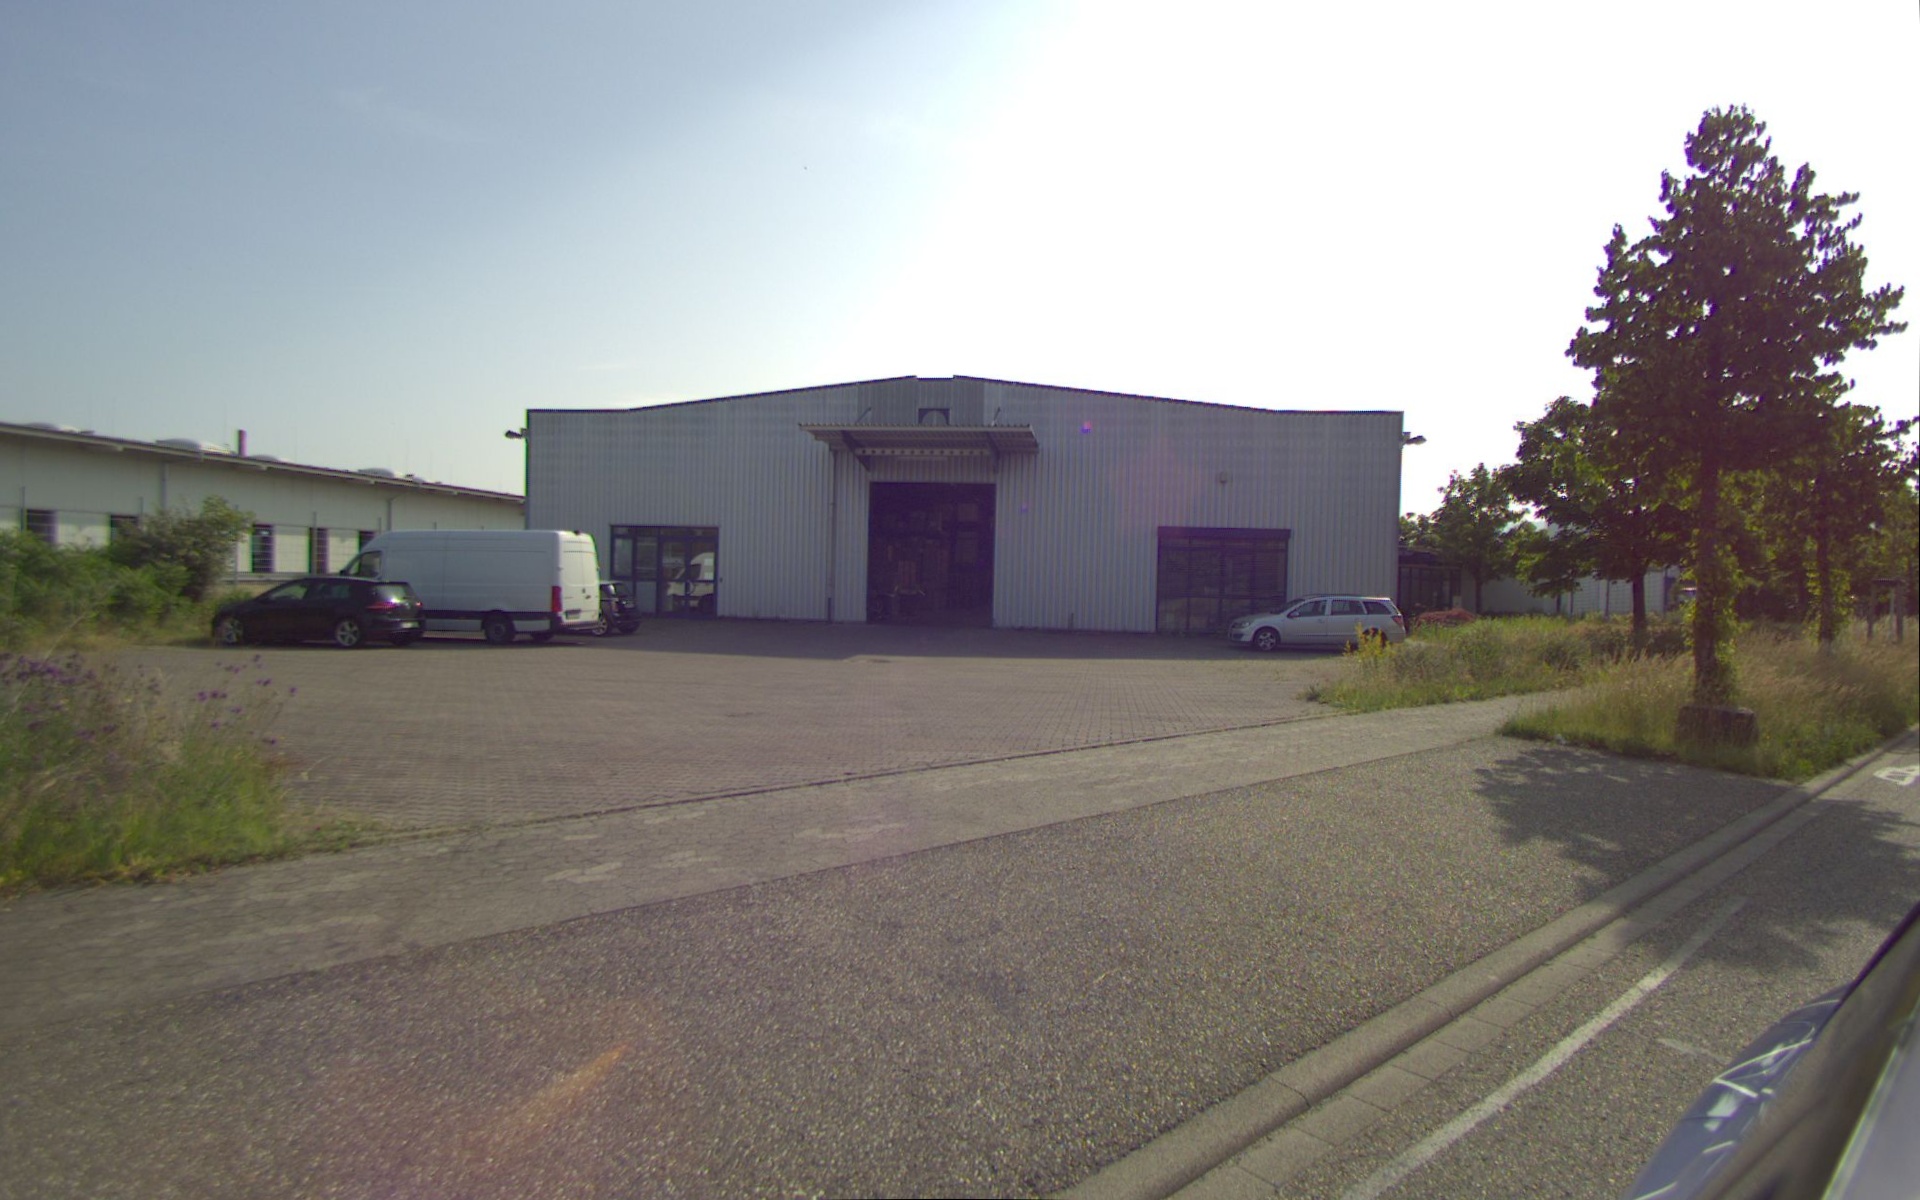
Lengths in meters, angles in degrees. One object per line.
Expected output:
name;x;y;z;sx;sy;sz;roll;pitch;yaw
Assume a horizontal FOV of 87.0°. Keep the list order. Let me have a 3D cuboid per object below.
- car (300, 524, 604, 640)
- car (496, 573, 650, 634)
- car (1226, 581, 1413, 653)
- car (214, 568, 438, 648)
car;-11.887;-0.442;23.828;6.452;2.557;2.002;0;1;9
car;-10.057;0.093;26.399;3.383;1.490;1.699;-1;-1;9
car;9.317;0.403;26.577;4.286;1.581;1.757;2;4;8
car;-13.088;0.151;20.984;3.669;1.490;1.755;2;0;9
